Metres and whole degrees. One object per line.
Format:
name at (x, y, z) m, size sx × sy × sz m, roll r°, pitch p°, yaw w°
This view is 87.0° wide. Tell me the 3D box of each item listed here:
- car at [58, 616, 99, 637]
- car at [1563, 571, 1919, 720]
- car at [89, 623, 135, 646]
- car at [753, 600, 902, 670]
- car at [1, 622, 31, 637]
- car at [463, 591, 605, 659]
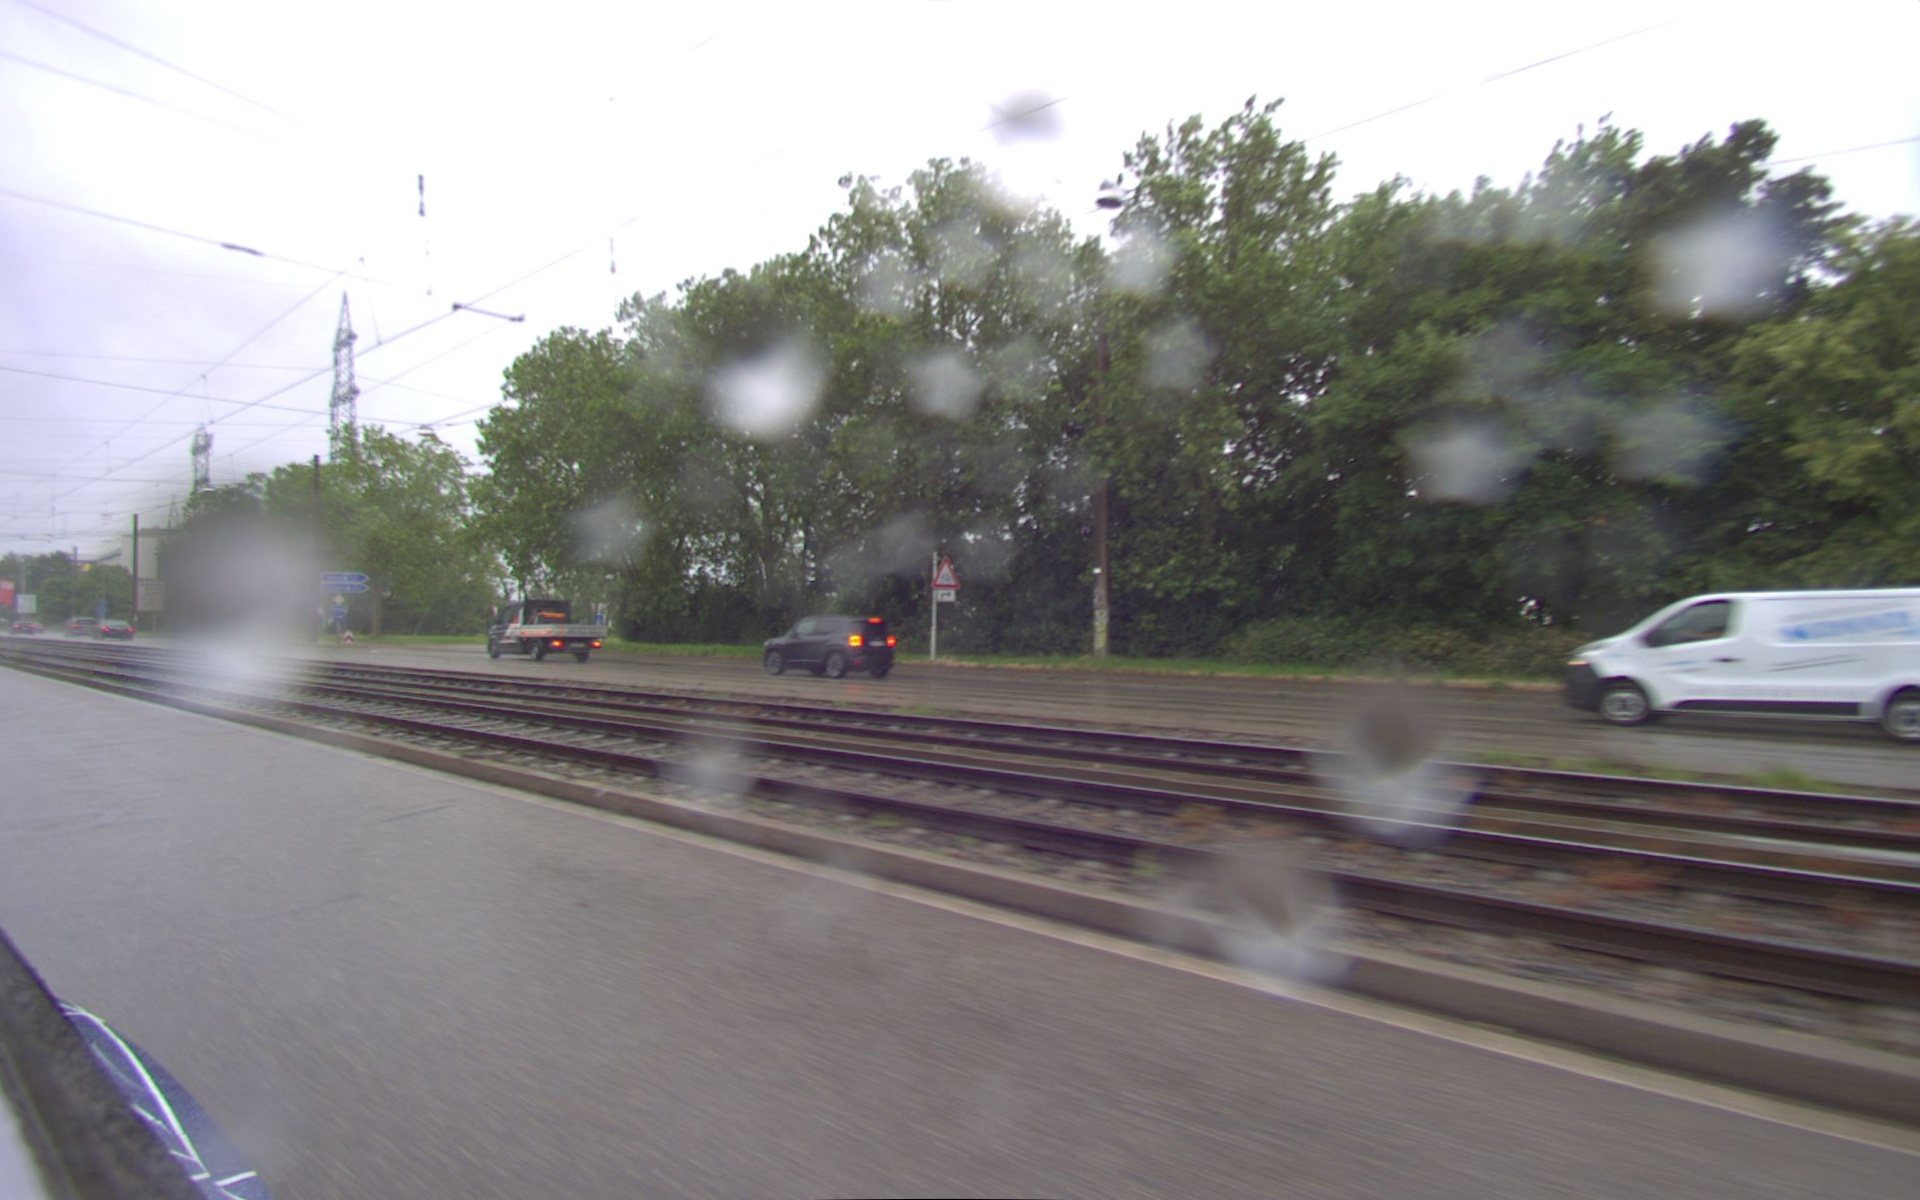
car at (-76.633, 2.298, 87.948) m, size 6.101 × 1.719 × 1.801 m, roll -2°, pitch -1°, yaw 41°
car at (11.276, 0.561, 13.725) m, size 4.985 × 1.789 × 2.018 m, roll -2°, pitch -1°, yaw 43°
car at (-62.867, 2.551, 75.007) m, size 5.678 × 1.597 × 1.758 m, roll -2°, pitch -1°, yaw 41°
car at (-3.674, 0.942, 27.646) m, size 4.163 × 1.730 × 1.821 m, roll -2°, pitch -1°, yaw 44°
car at (-102.228, 3.186, 109.599) m, size 5.309 × 1.561 × 1.772 m, roll -2°, pitch -1°, yaw 41°
car at (-16.486, 0.987, 38.922) m, size 6.985 × 2.361 × 2.078 m, roll -2°, pitch -1°, yaw 41°
